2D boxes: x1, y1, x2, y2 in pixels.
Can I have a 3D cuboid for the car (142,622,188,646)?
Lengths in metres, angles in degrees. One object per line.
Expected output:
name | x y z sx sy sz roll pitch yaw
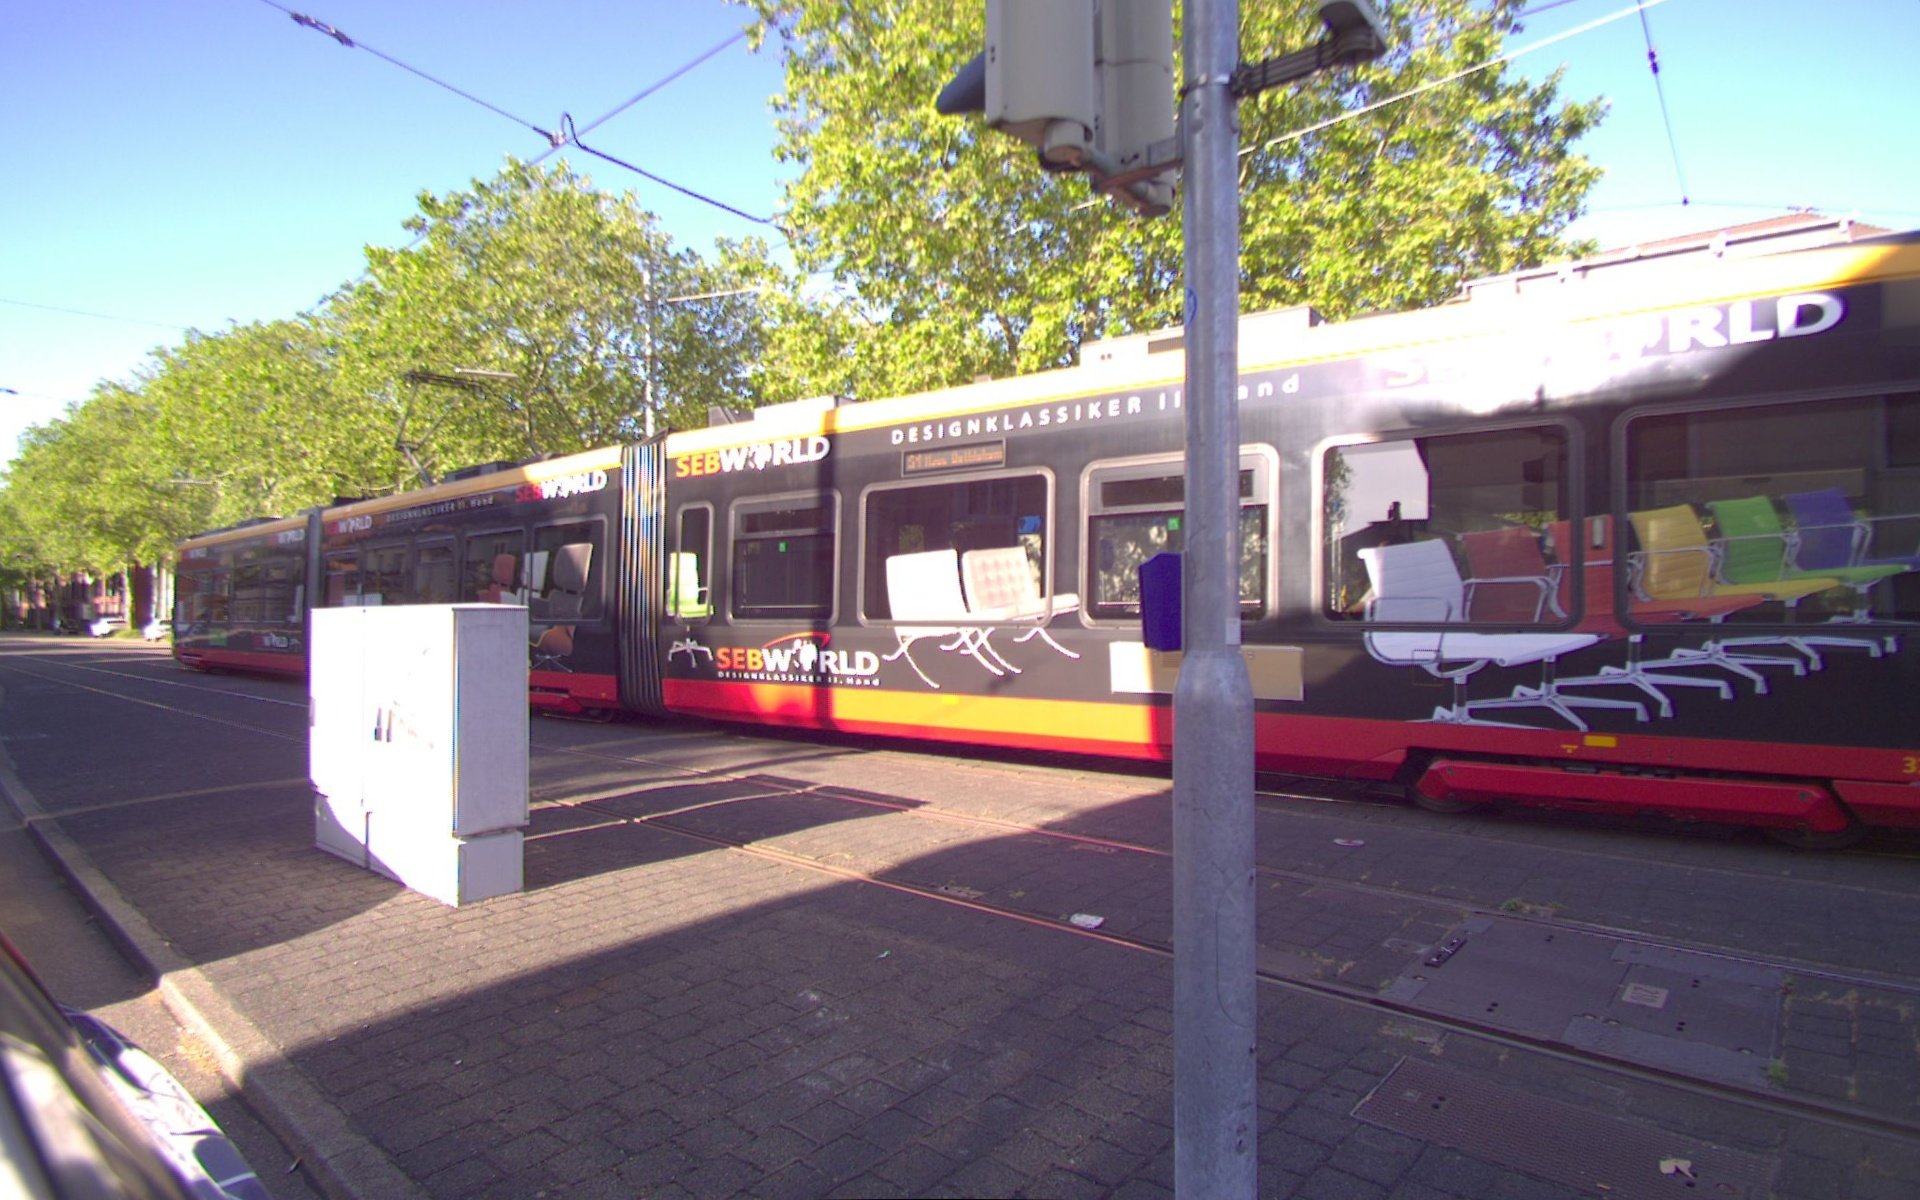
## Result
car | -53.711 2.270 68.369 4.000 1.563 1.857 -1 -2 43

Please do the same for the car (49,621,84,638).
car | -85.068 2.783 96.333 3.995 1.563 1.859 -1 -1 38

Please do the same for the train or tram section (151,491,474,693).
train or tram section | -15.675 -0.027 23.723 12.885 3.640 3.023 -1 -2 42

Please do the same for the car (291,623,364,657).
car | -28.935 1.790 46.237 4.000 1.497 1.857 -1 -2 43

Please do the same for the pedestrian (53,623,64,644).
pedestrian | -72.959 2.694 81.900 0.677 1.654 0.570 -1 -2 43

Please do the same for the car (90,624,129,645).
car | -66.883 2.672 79.565 4.000 1.563 1.857 -1 -2 43

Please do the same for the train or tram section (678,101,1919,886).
train or tram section | 2.810 -0.431 7.865 12.095 3.640 3.026 -1 -1 38

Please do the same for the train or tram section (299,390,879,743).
train or tram section | -6.486 -0.239 15.517 11.944 3.640 3.023 -1 -2 41
